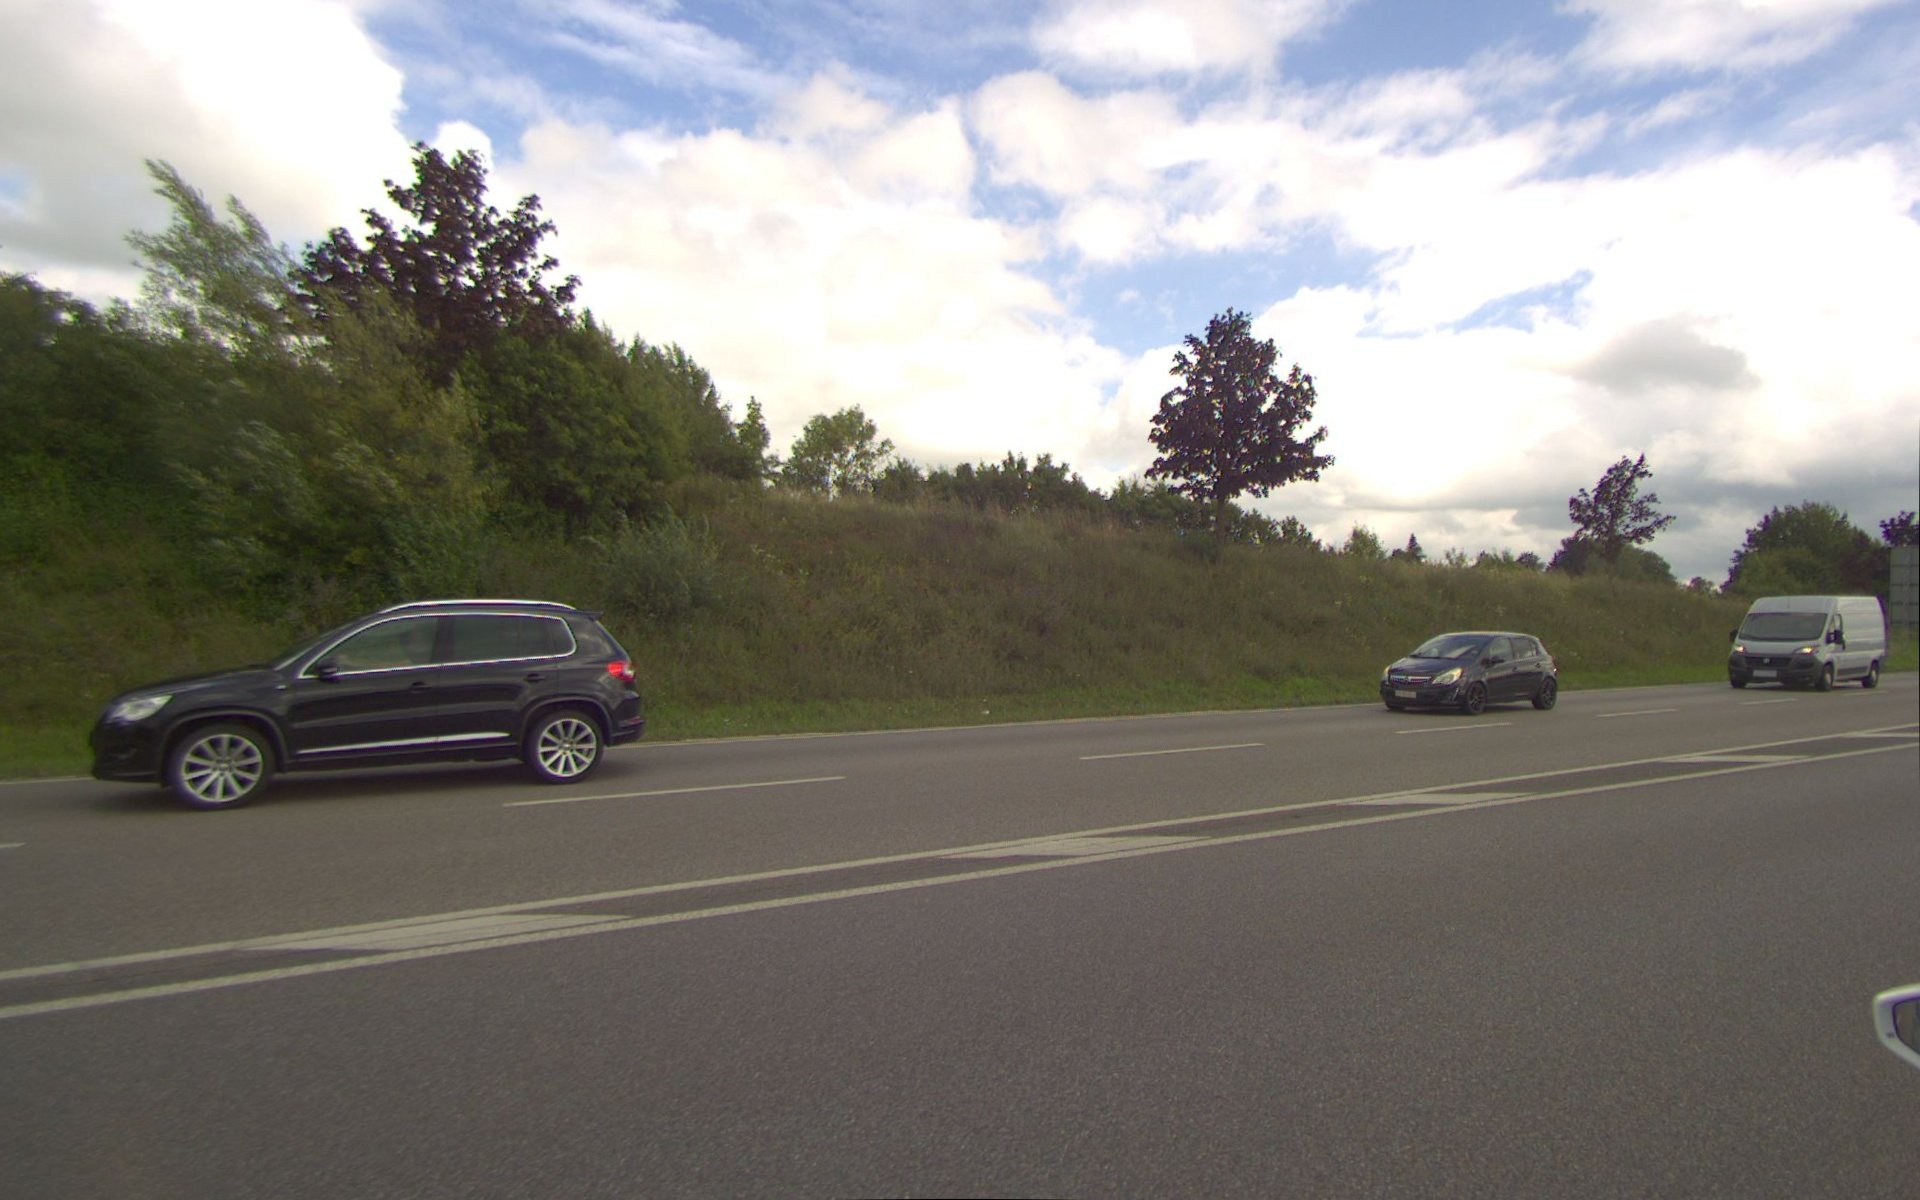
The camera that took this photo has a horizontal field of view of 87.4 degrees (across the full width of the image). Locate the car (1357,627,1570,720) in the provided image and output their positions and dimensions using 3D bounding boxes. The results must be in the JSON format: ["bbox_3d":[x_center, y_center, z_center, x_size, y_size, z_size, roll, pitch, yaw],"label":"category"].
[{"bbox_3d":[9.442,1.281,18.741,4.148,1.550,1.722,1,-1,-33],"label":"car"}]

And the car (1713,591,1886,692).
[{"bbox_3d":[22.662,1.073,27.054,5.574,2.472,2.021,1,-1,-33],"label":"car"}]

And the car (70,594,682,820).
[{"bbox_3d":[-5.033,0.840,9.282,4.463,1.655,1.785,1,-2,-31],"label":"car"}]
